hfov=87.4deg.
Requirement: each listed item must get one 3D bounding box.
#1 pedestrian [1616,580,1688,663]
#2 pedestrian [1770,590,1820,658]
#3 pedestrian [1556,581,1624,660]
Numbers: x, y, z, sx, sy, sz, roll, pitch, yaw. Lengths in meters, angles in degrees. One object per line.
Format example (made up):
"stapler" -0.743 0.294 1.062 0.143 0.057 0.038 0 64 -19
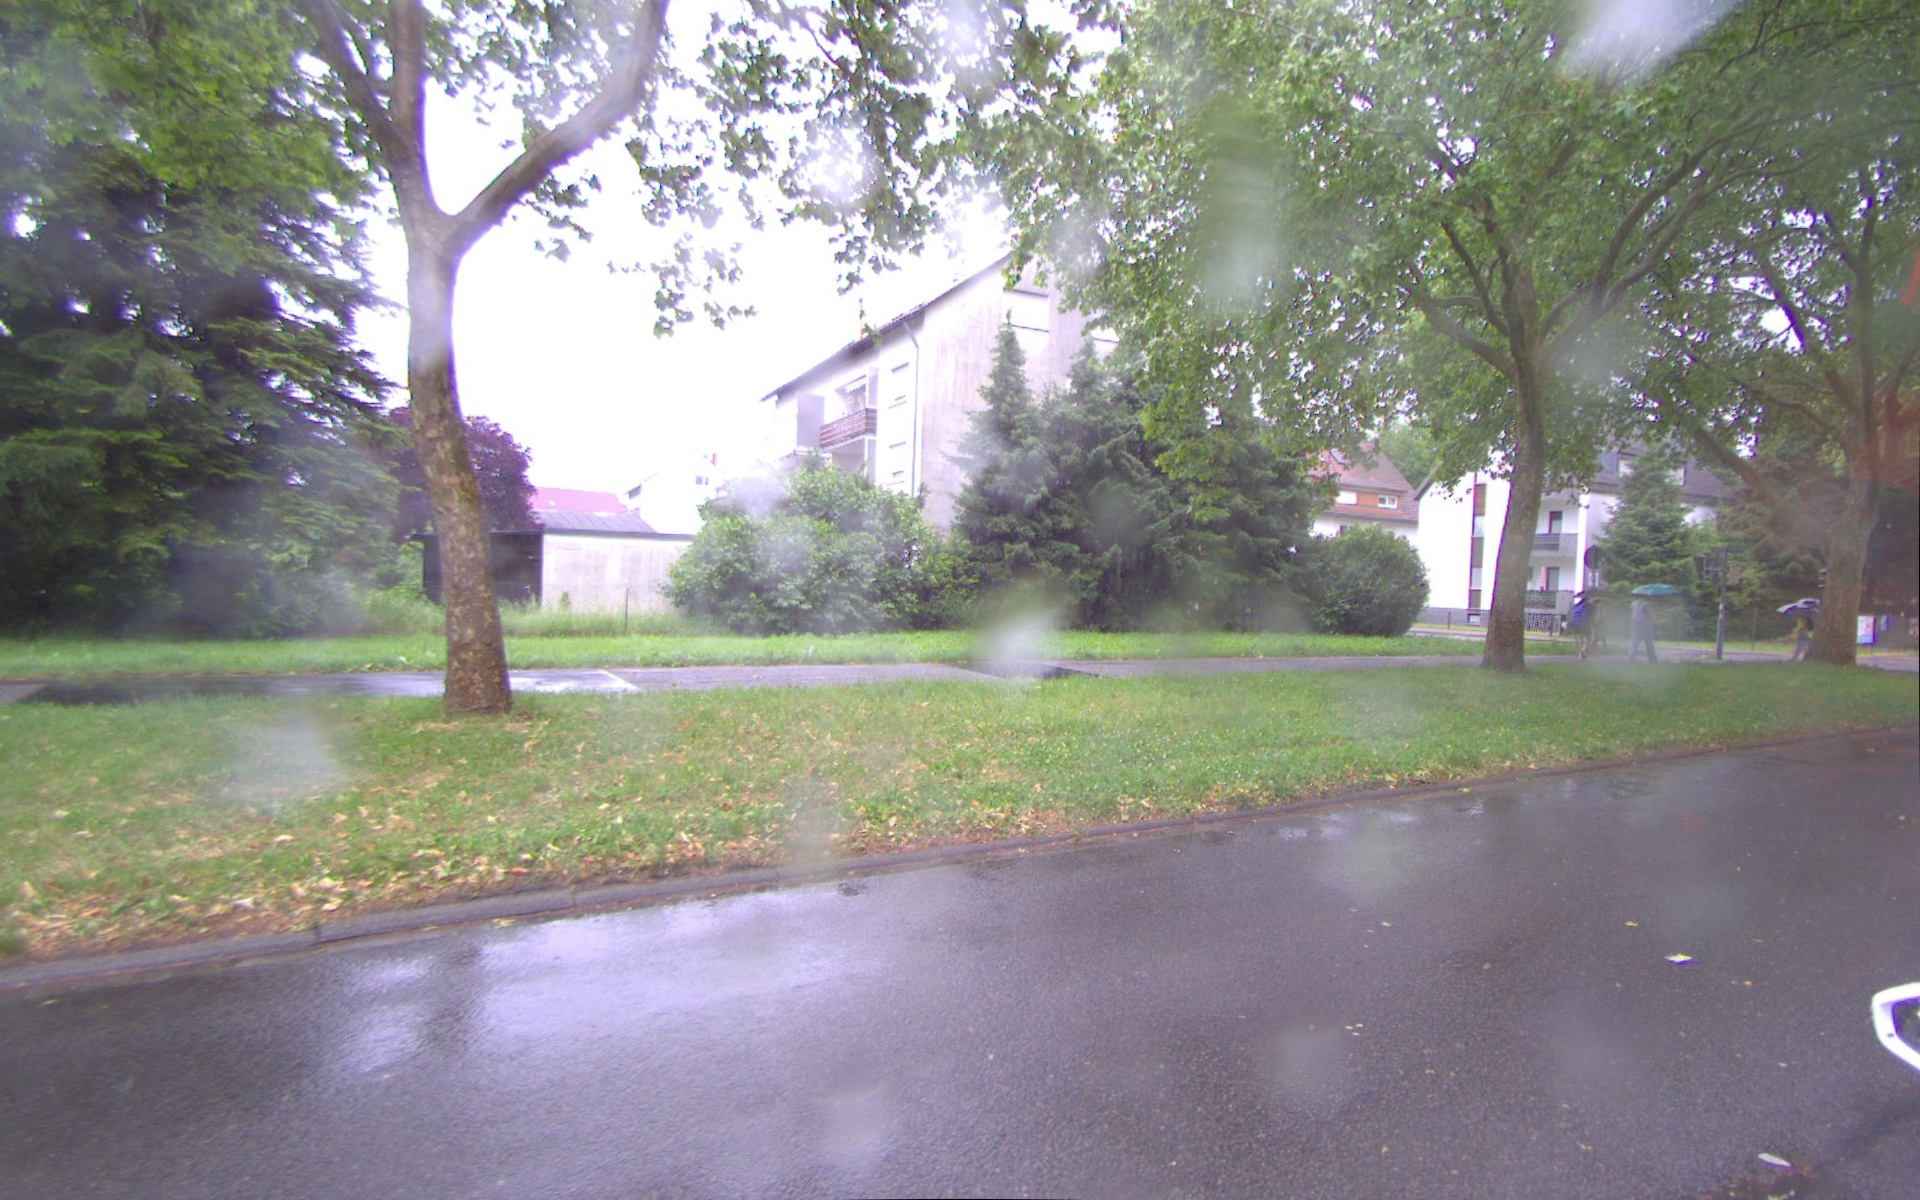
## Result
"pedestrian" 15.377 0.457 22.330 0.828 1.789 1.028 1 1 -30
"pedestrian" 22.224 0.629 26.729 0.633 1.768 0.815 1 2 -33
"pedestrian" 14.693 0.458 23.457 0.869 1.789 1.028 1 1 -30
